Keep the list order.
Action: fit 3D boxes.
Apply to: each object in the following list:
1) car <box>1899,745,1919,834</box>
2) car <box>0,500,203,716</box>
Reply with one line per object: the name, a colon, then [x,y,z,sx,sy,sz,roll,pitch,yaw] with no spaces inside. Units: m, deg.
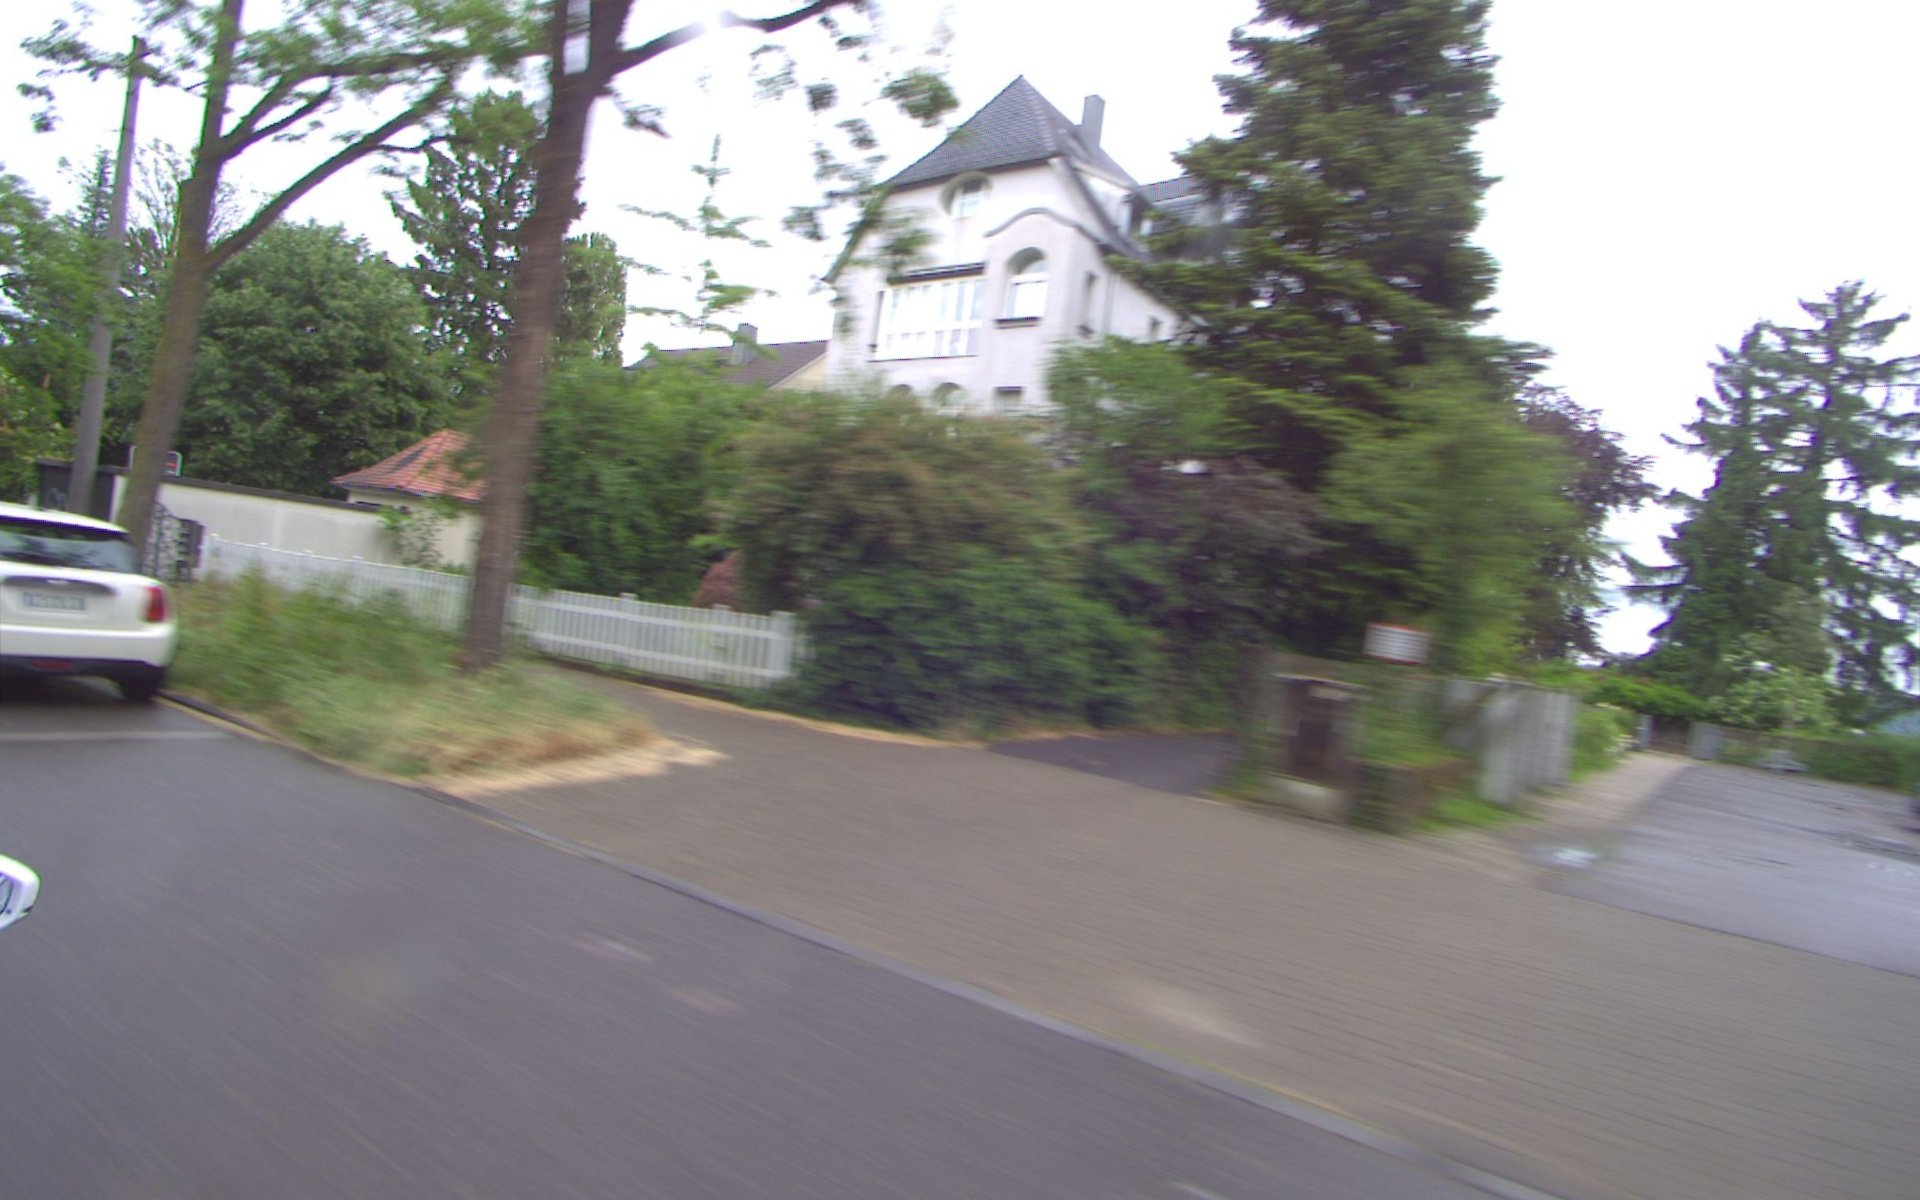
car: [17.512,3.310,15.269,4.455,1.391,1.617,7,-2,36]
car: [-8.083,-0.094,8.190,3.663,1.481,1.741,7,-2,32]
